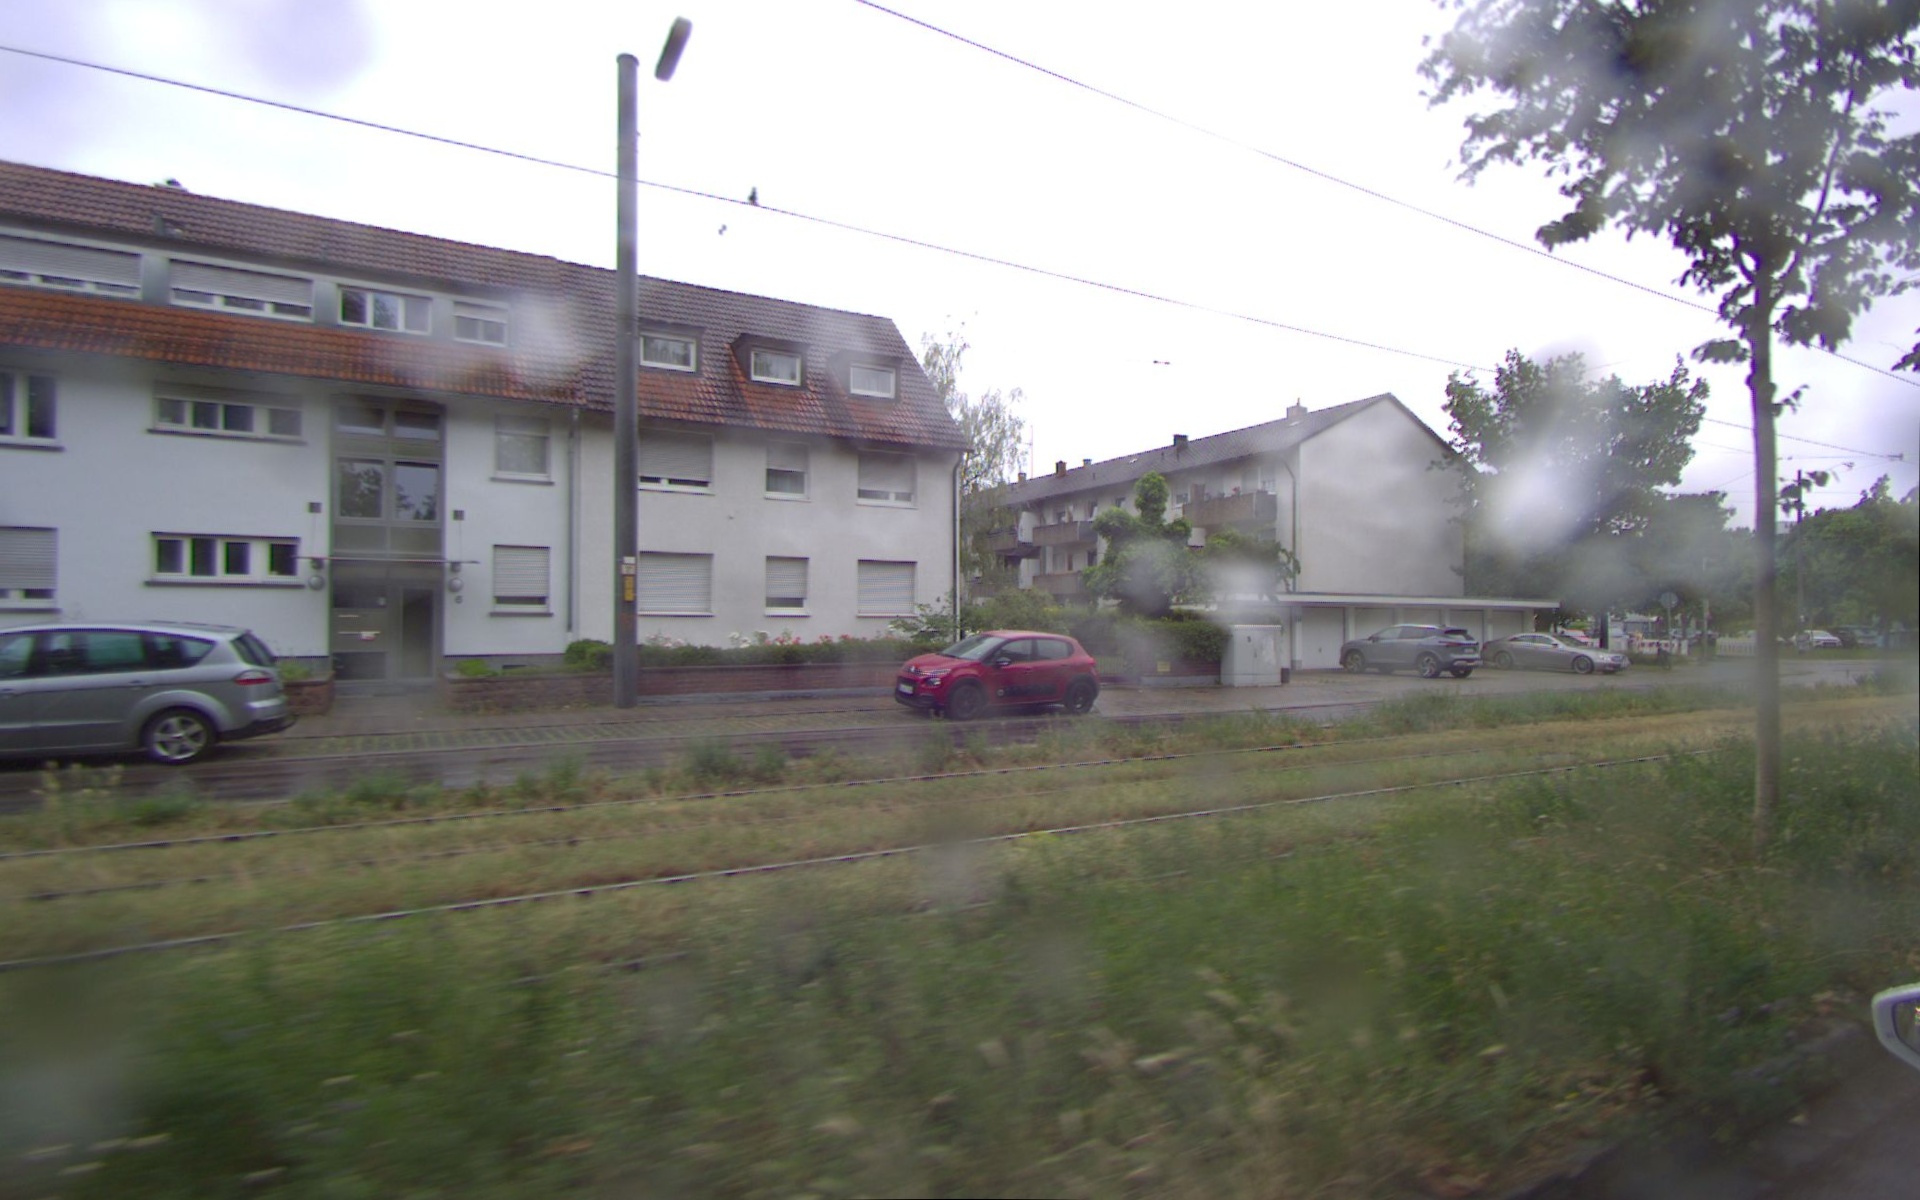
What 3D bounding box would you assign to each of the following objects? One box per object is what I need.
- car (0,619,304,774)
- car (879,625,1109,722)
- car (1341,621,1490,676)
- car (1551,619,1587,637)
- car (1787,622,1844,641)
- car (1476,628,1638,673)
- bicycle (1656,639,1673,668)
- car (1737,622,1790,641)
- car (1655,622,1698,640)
[{"bbox_3d":[-10.577,1.062,11.820,4.628,1.635,1.984,1,0,-30],"label":"car"},{"bbox_3d":[0.652,1.288,18.756,3.925,1.568,1.833,1,1,-30],"label":"car"},{"bbox_3d":[14.332,1.484,31.811,1.871,1.597,3.968,1,-2,-30],"label":"car"},{"bbox_3d":[44.964,2.076,74.273,1.633,1.265,3.742,-1,-2,21],"label":"car"},{"bbox_3d":[58.539,2.171,68.793,1.632,1.265,3.743,-1,-2,19],"label":"car"},{"bbox_3d":[21.213,1.753,35.909,1.826,1.383,4.705,1,-1,-29],"label":"car"},{"bbox_3d":[26.722,2.017,38.121,0.474,1.033,1.835,3,1,35],"label":"bicycle"},{"bbox_3d":[55.475,2.186,69.416,1.632,1.265,3.743,-1,-2,19],"label":"car"},{"bbox_3d":[51.477,2.265,72.254,1.633,1.265,3.742,-1,-2,21],"label":"car"}]
